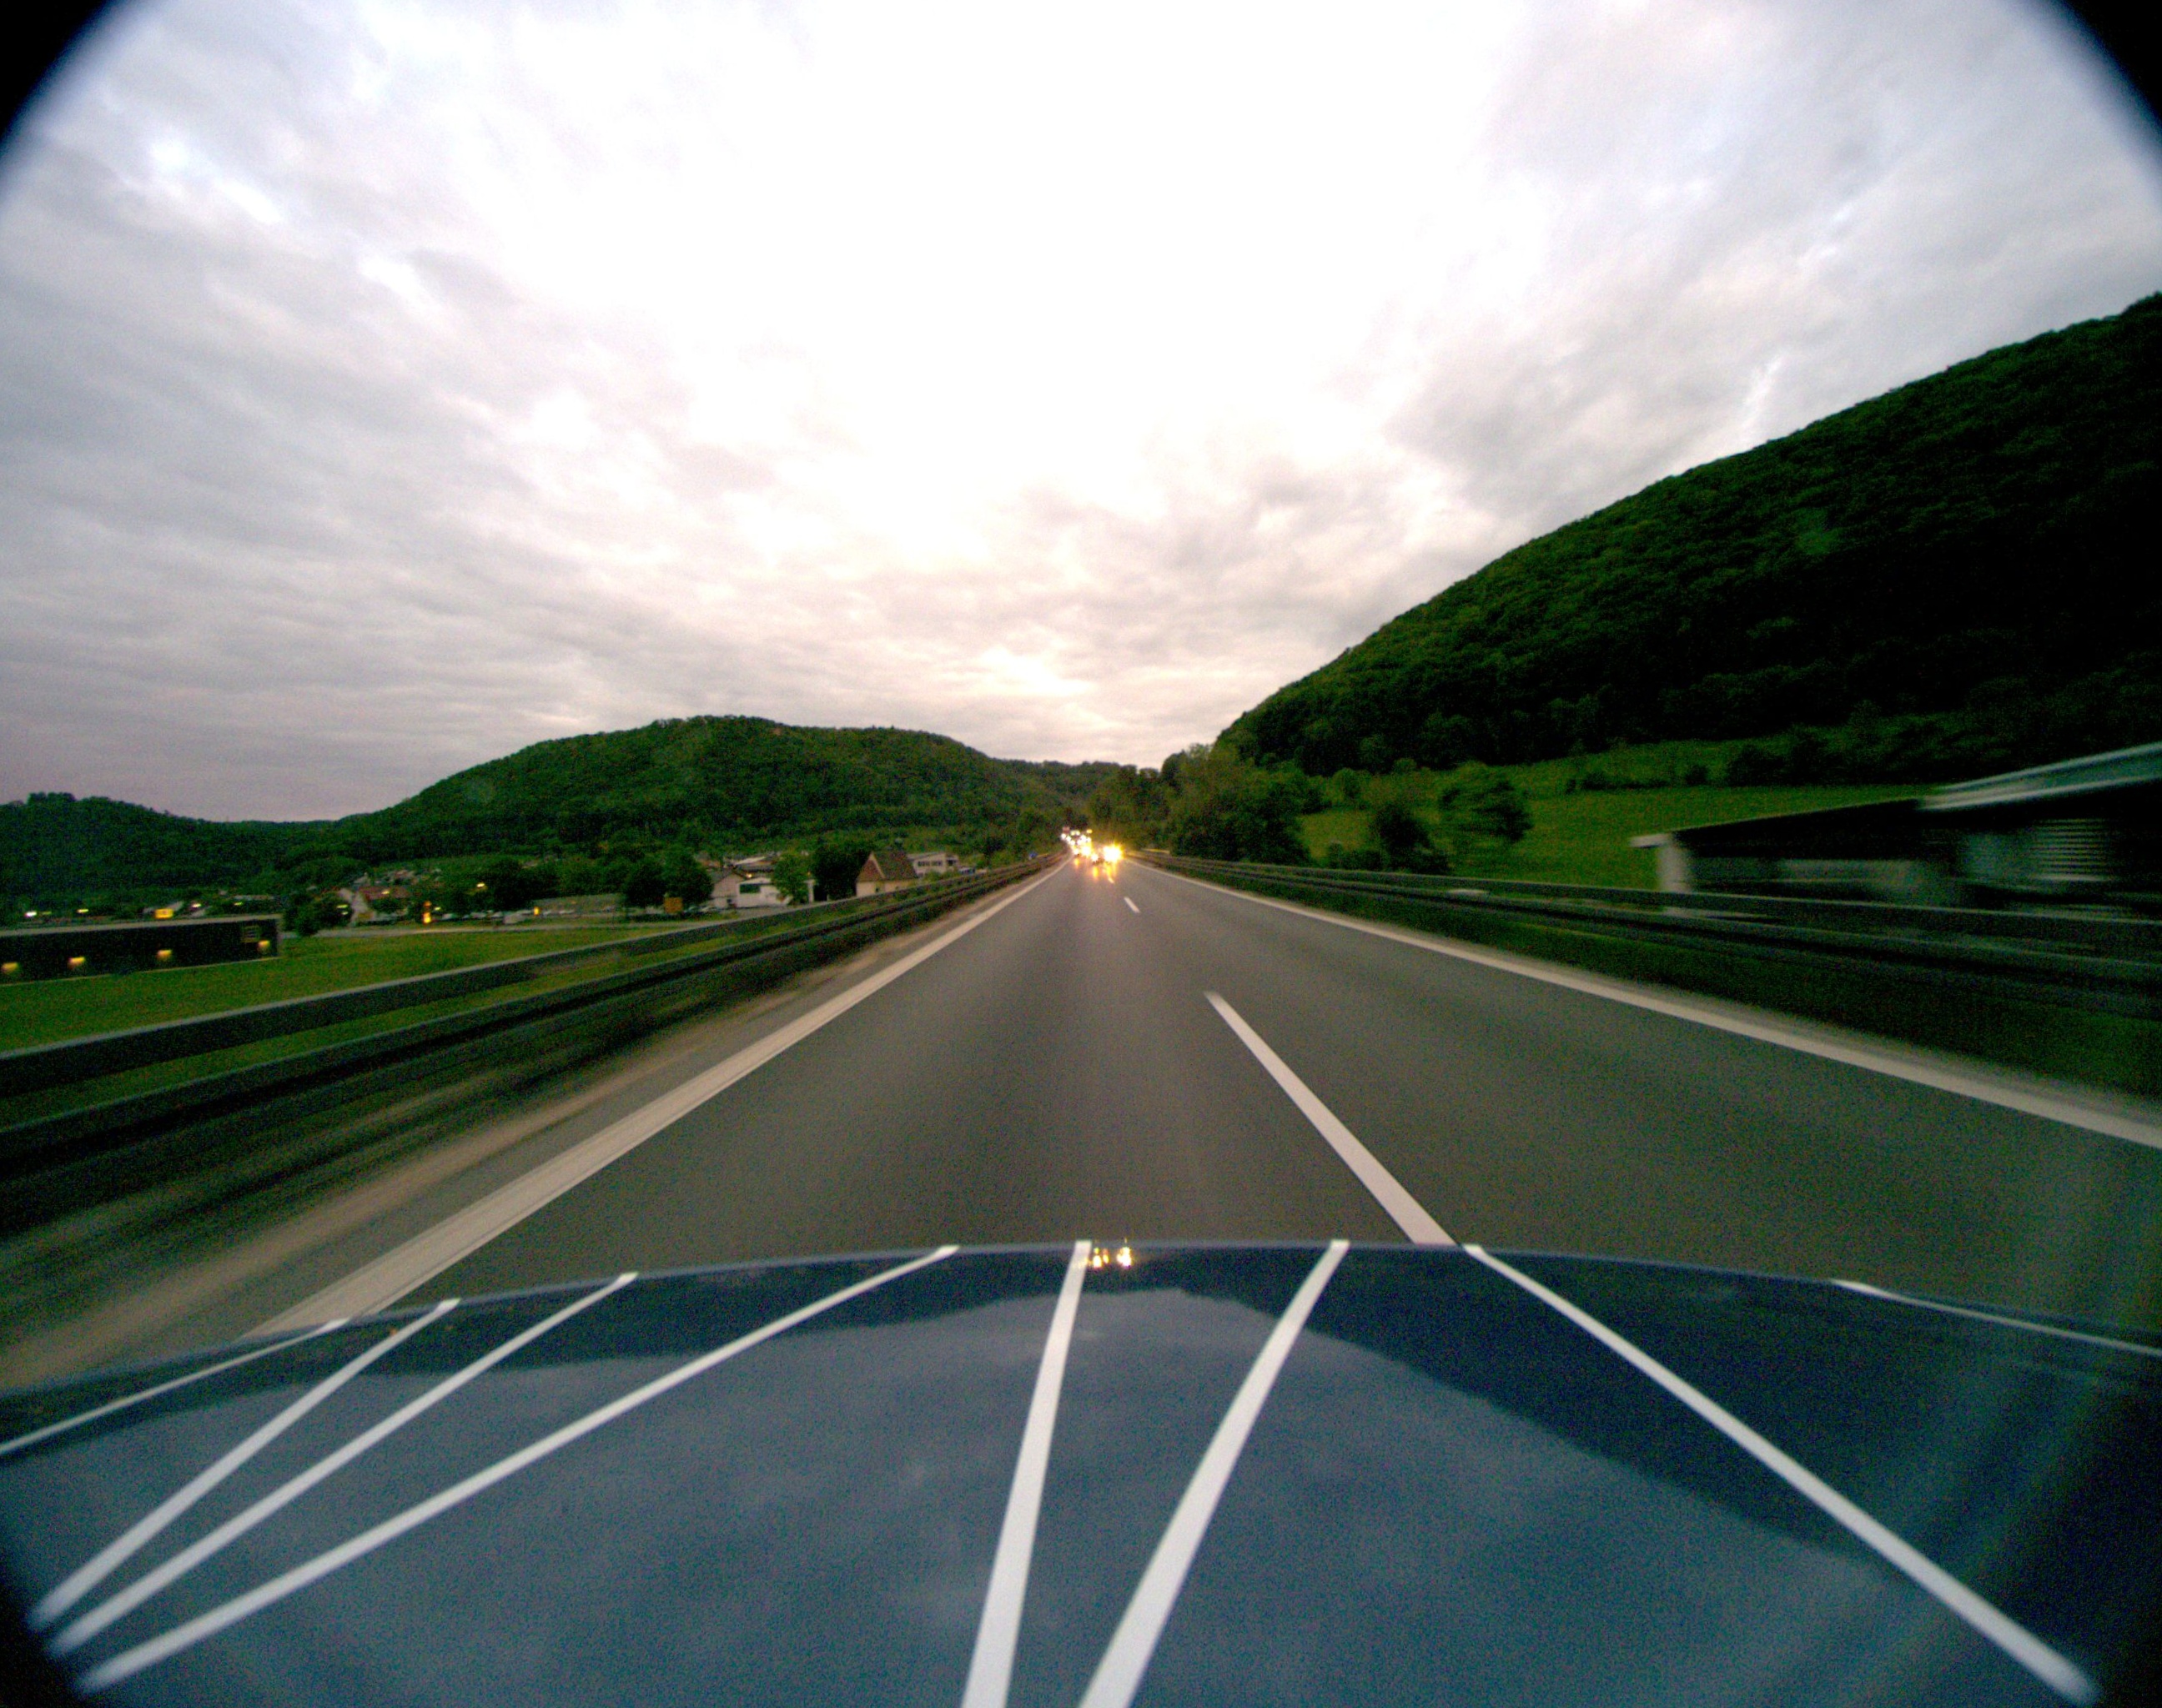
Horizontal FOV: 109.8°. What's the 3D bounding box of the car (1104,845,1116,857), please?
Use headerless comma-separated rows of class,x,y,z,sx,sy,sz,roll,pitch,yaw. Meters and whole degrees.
car,4.275,-0.409,112.012,1.690,1.459,3.769,-1,-3,0

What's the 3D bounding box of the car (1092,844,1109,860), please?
car,1.970,-0.188,77.648,1.690,1.442,3.670,-1,-3,0

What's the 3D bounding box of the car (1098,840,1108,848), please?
car,4.157,-1.871,143.968,1.690,1.424,3.670,-1,-3,0

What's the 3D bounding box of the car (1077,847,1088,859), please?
car,0.258,-0.176,118.304,1.737,1.640,3.670,-1,-3,0
